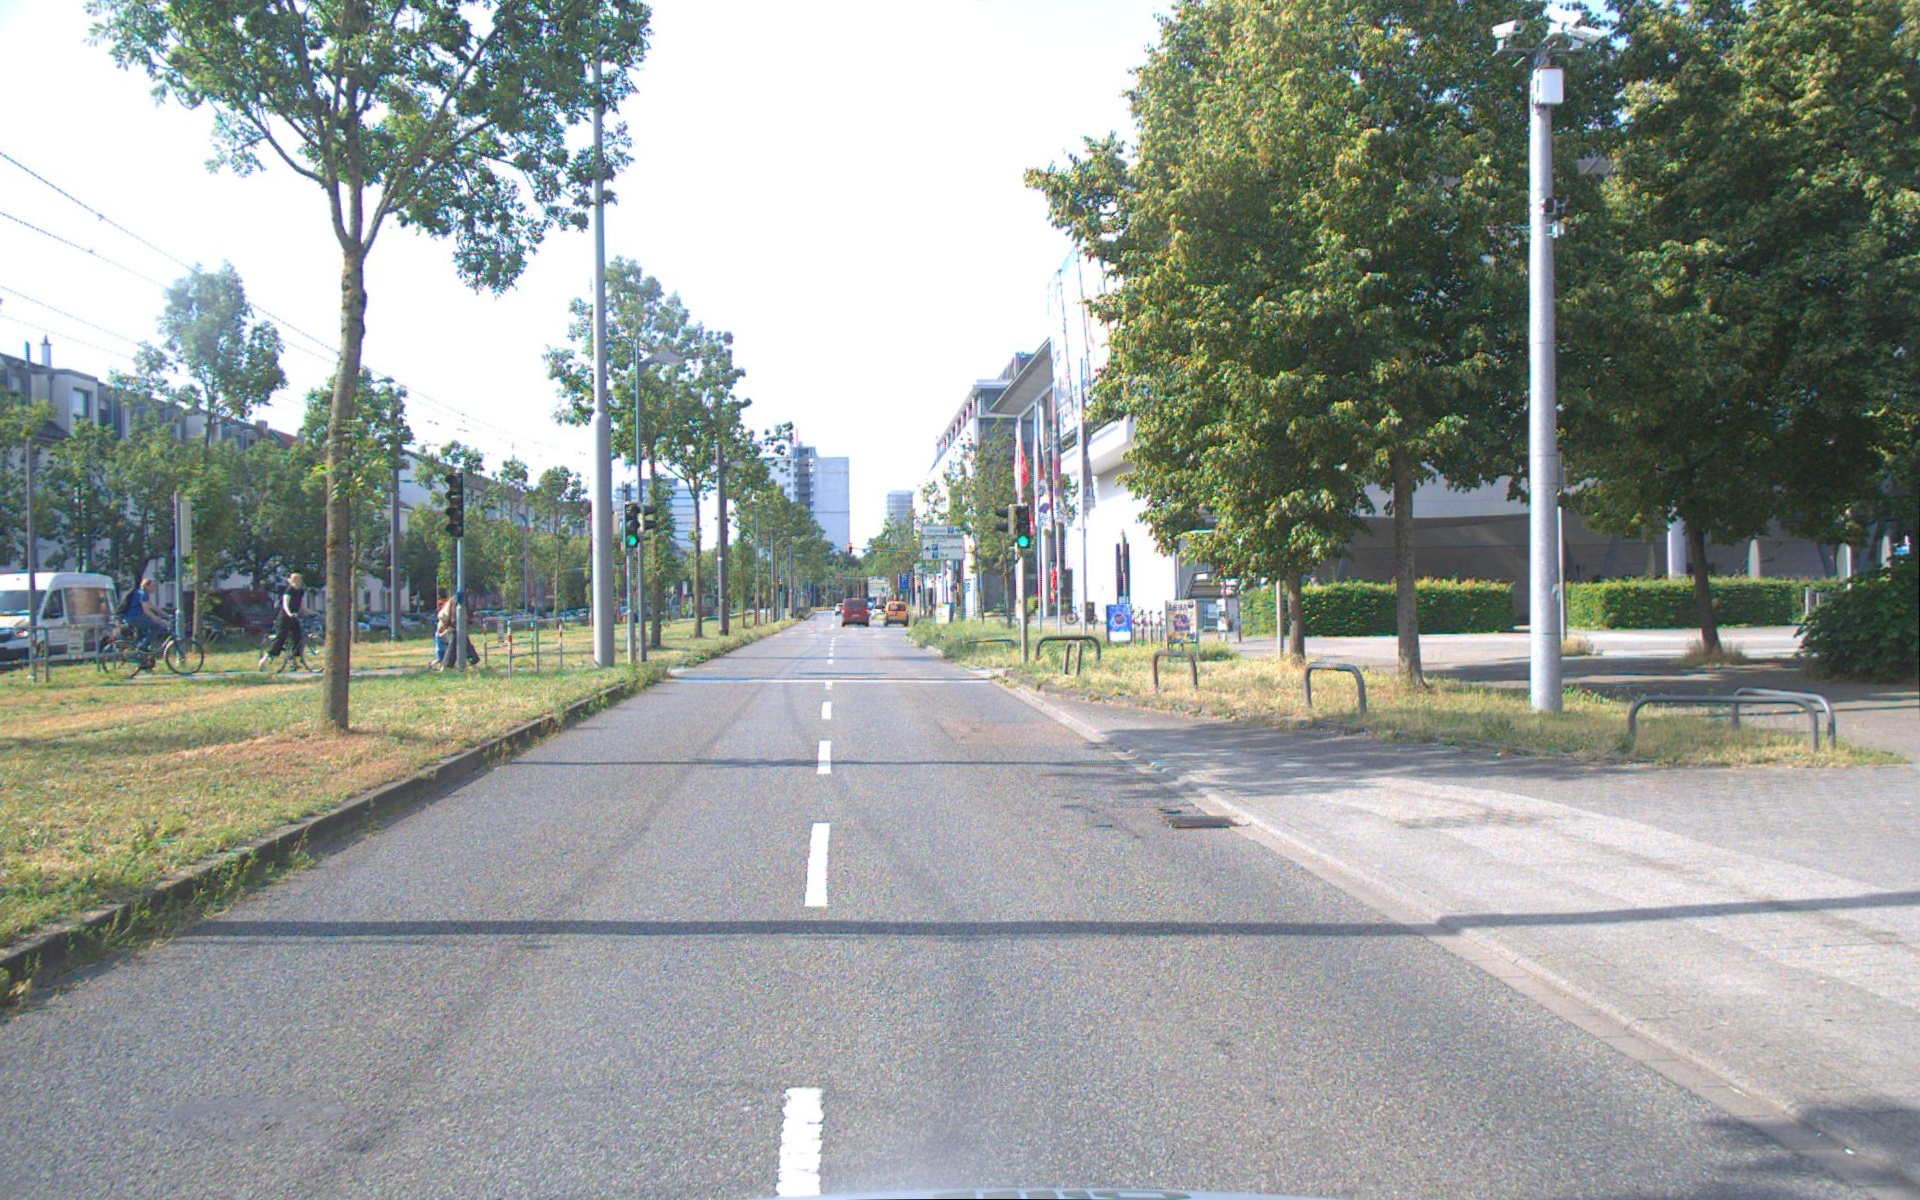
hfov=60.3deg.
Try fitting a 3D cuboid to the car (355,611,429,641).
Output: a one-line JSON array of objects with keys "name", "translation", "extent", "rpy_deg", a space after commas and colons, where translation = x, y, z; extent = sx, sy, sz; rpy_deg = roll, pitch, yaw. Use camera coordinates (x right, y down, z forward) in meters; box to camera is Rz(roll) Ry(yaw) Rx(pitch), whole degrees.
[{"name": "car", "translation": [-33.006, 1.514, 96.051], "extent": [3.905, 1.624, 1.655], "rpy_deg": [1, -1, 21]}]

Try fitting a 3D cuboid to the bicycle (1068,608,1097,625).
[{"name": "bicycle", "translation": [7.015, 0.937, 94.935], "extent": [1.590, 0.903, 0.550], "rpy_deg": [1, -1, -6]}]

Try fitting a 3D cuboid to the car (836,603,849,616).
[{"name": "car", "translation": [-16.237, 1.324, 228.443], "extent": [1.713, 1.679, 3.213], "rpy_deg": [1, -1, -4]}]

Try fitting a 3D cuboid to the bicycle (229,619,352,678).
[{"name": "bicycle", "translation": [-12.634, 0.912, 31.256], "extent": [2.024, 1.060, 0.668], "rpy_deg": [1, -1, 0]}]

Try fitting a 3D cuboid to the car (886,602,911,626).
[{"name": "car", "translation": [-4.412, 1.024, 118.451], "extent": [1.713, 1.679, 3.213], "rpy_deg": [1, -1, -4]}]

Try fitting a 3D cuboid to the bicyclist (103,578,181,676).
[{"name": "bicyclist", "translation": [-15.421, 0.508, 31.188], "extent": [1.126, 1.792, 0.684], "rpy_deg": [1, -1, -11]}]

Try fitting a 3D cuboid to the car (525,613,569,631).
[{"name": "car", "translation": [-40.456, 2.132, 162.123], "extent": [3.905, 1.624, 1.655], "rpy_deg": [1, -1, 21]}]

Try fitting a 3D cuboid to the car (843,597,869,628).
[{"name": "car", "translation": [-7.004, 0.862, 111.591], "extent": [1.713, 2.049, 3.213], "rpy_deg": [1, -1, -4]}]

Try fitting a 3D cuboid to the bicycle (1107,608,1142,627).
[{"name": "bicycle", "translation": [7.964, 0.842, 80.185], "extent": [1.590, 0.903, 0.550], "rpy_deg": [1, -1, -6]}]

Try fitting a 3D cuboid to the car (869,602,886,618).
[{"name": "car", "translation": [-8.674, 1.061, 172.788], "extent": [1.713, 1.679, 3.213], "rpy_deg": [1, -1, -4]}]

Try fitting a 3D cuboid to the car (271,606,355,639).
[{"name": "car", "translation": [-32.255, 1.116, 82.416], "extent": [3.905, 1.557, 1.463], "rpy_deg": [1, -1, 21]}]

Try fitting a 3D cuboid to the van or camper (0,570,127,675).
[{"name": "van or camper", "translation": [-24.405, 0.553, 43.831], "extent": [2.161, 2.575, 6.021], "rpy_deg": [1, 0, -7]}]

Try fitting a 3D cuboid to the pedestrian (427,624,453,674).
[{"name": "pedestrian", "translation": [-9.525, 0.891, 30.279], "extent": [0.334, 0.890, 0.460], "rpy_deg": [1, -1, -4]}]

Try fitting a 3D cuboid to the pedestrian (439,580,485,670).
[{"name": "pedestrian", "translation": [-8.996, 0.454, 29.894], "extent": [0.612, 1.599, 0.710], "rpy_deg": [1, -1, -4]}]

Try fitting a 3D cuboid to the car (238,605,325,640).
[{"name": "car", "translation": [-32.650, 1.086, 79.611], "extent": [3.905, 1.557, 1.463], "rpy_deg": [1, -1, 21]}]

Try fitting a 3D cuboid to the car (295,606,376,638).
[{"name": "car", "translation": [-32.297, 1.139, 85.512], "extent": [3.905, 1.557, 1.463], "rpy_deg": [1, -1, 21]}]

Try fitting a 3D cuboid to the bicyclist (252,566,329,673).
[{"name": "bicyclist", "translation": [-12.664, 0.368, 31.323], "extent": [1.123, 1.968, 0.686], "rpy_deg": [1, -1, 1]}]

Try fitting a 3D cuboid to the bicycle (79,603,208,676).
[{"name": "bicycle", "translation": [-15.371, 0.731, 31.177], "extent": [2.029, 1.347, 0.782], "rpy_deg": [0, 0, -11]}]

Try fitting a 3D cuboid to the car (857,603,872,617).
[{"name": "car", "translation": [-11.474, 1.203, 198.445], "extent": [1.714, 1.679, 3.212], "rpy_deg": [1, -1, -5]}]

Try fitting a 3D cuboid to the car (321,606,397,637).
[{"name": "car", "translation": [-32.732, 1.166, 90.052], "extent": [3.905, 1.557, 1.463], "rpy_deg": [1, -1, 21]}]

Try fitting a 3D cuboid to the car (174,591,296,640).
[{"name": "car", "translation": [-32.176, 0.673, 73.400], "extent": [5.111, 2.049, 1.876], "rpy_deg": [1, -1, 21]}]
